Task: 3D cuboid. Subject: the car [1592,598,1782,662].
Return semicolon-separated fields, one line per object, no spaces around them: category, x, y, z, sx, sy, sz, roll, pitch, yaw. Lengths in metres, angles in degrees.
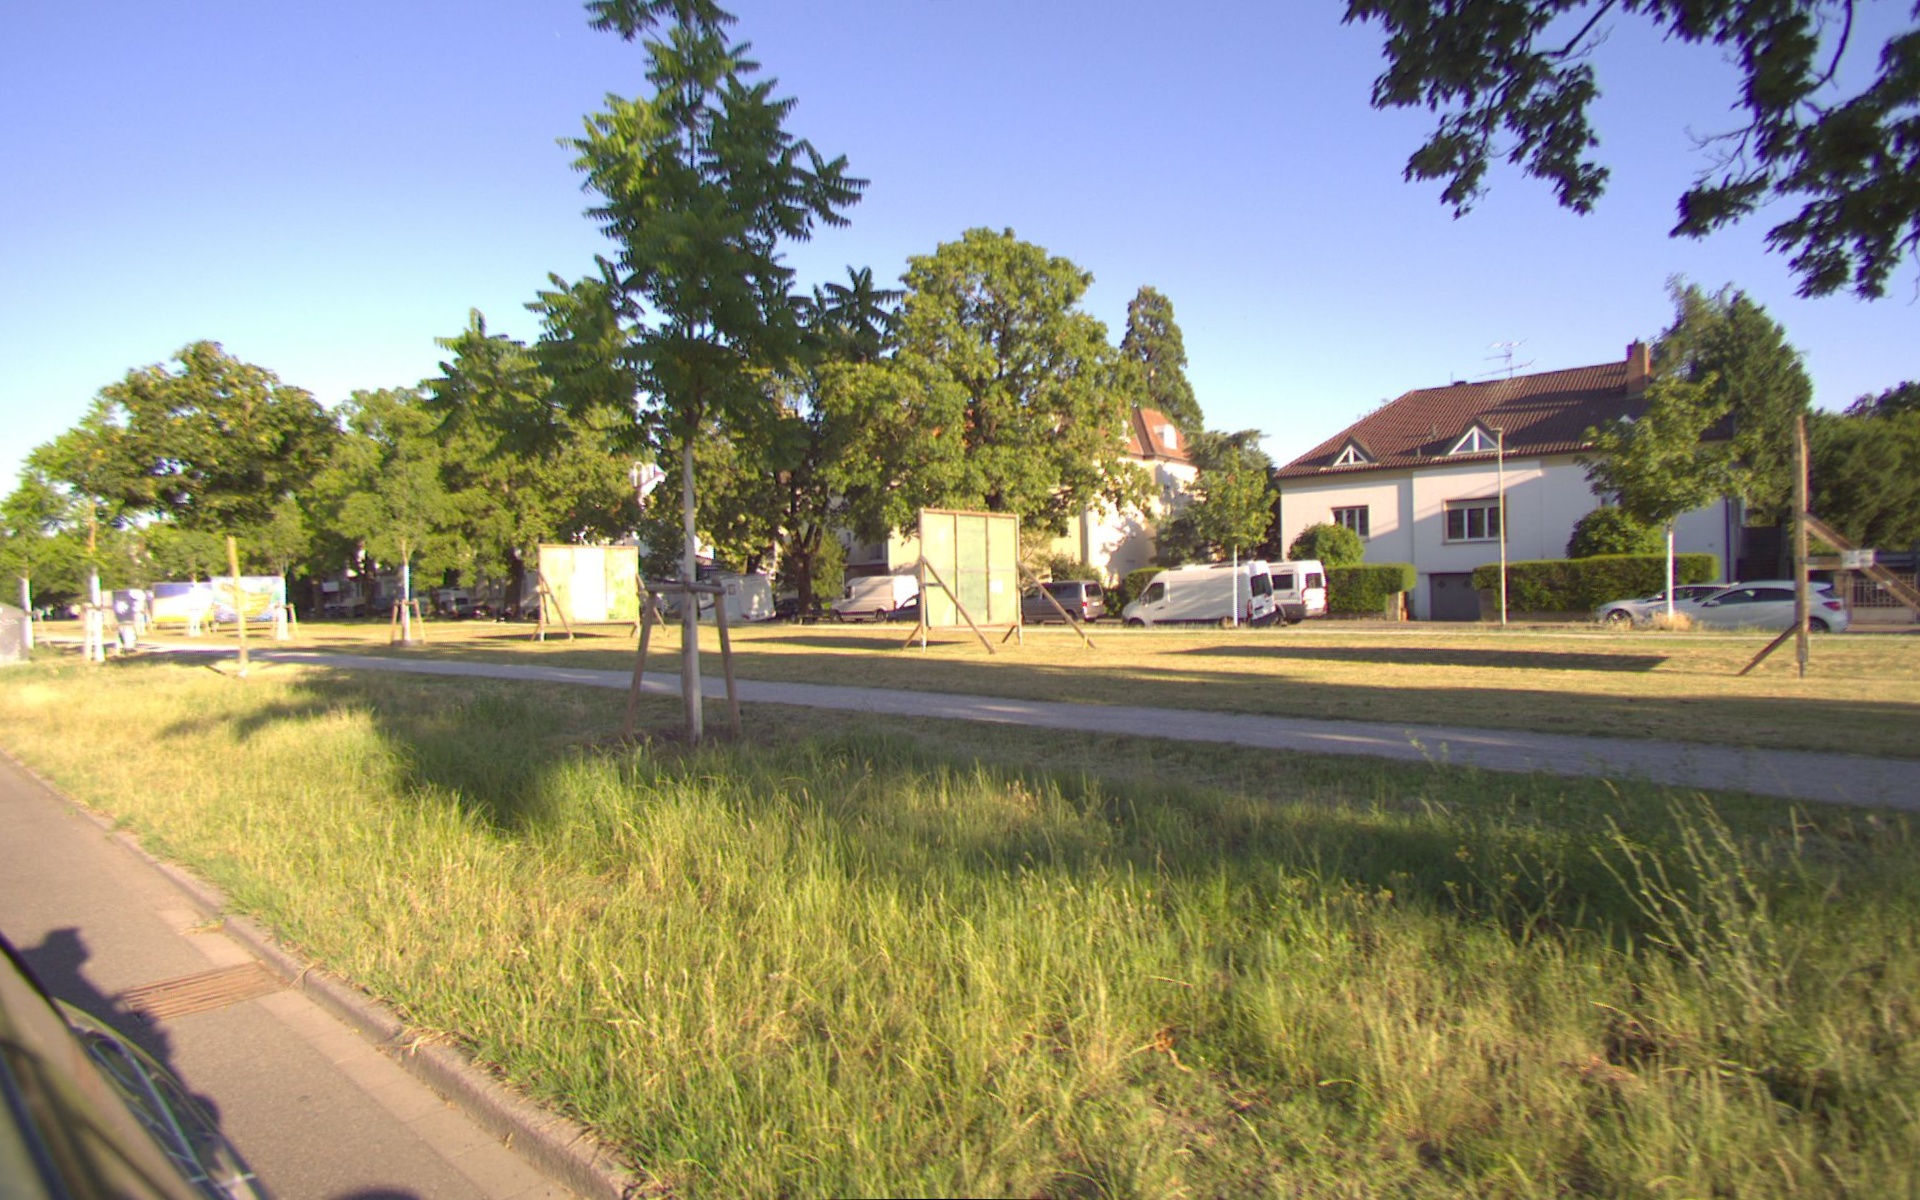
car;22.667;0.928;31.691;4.712;1.868;1.712;-1;-4;41

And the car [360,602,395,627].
car;-60.277;1.498;104.640;3.999;2.560;1.972;0;0;42

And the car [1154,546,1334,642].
car;11.490;-0.162;41.345;6.763;3.586;2.279;-1;-4;42

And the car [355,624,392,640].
car;-51.844;2.779;89.448;4.043;1.325;1.832;-1;0;44

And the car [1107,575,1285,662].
car;8.401;0.680;36.403;5.869;2.847;2.236;-1;-4;42

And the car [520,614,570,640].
car;-33.262;2.175;81.030;4.713;1.927;1.870;-2;-1;42

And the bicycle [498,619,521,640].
bicycle;-29.207;1.932;65.590;2.331;1.352;0.505;-2;-1;45

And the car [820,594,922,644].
car;-5.066;1.043;56.763;6.087;2.617;1.972;-1;-4;41

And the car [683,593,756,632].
car;-13.183;0.695;55.404;3.999;2.029;1.972;-2;-1;42

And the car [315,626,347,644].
car;-70.632;3.950;113.672;4.281;1.838;1.605;-3;-2;37

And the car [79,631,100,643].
car;-155.984;6.589;181.313;3.997;2.029;2.098;0;-4;40

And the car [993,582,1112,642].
car;4.330;0.565;47.844;5.321;2.624;2.114;0;-4;40

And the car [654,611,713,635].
car;-18.671;1.577;68.333;3.806;1.554;1.974;-2;-1;40

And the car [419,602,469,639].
car;-47.716;1.899;93.499;6.072;3.274;1.973;-3;-2;41

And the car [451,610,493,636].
car;-42.866;2.000;88.804;3.999;2.171;1.972;-2;-1;42

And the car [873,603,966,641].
car;-1.851;0.982;44.931;4.307;1.576;1.399;-2;-1;40

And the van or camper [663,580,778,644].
van or camper;-13.183;0.695;55.404;6.902;3.287;2.614;-2;-1;42

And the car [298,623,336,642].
car;-63.487;3.183;99.871;4.341;1.742;1.973;-3;-2;40

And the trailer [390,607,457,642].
trailer;-43.541;1.967;82.108;6.633;2.679;2.448;0;-4;41

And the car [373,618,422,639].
car;-47.839;2.401;86.056;4.947;1.654;1.974;-1;0;40

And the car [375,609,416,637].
car;-56.587;2.281;101.494;5.043;2.660;1.924;-1;-4;42

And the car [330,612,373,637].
car;-56.024;2.270;93.185;4.566;2.191;1.974;-3;-2;39

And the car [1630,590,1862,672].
car;20.232;0.799;26.189;4.642;1.914;1.813;-1;-4;42
